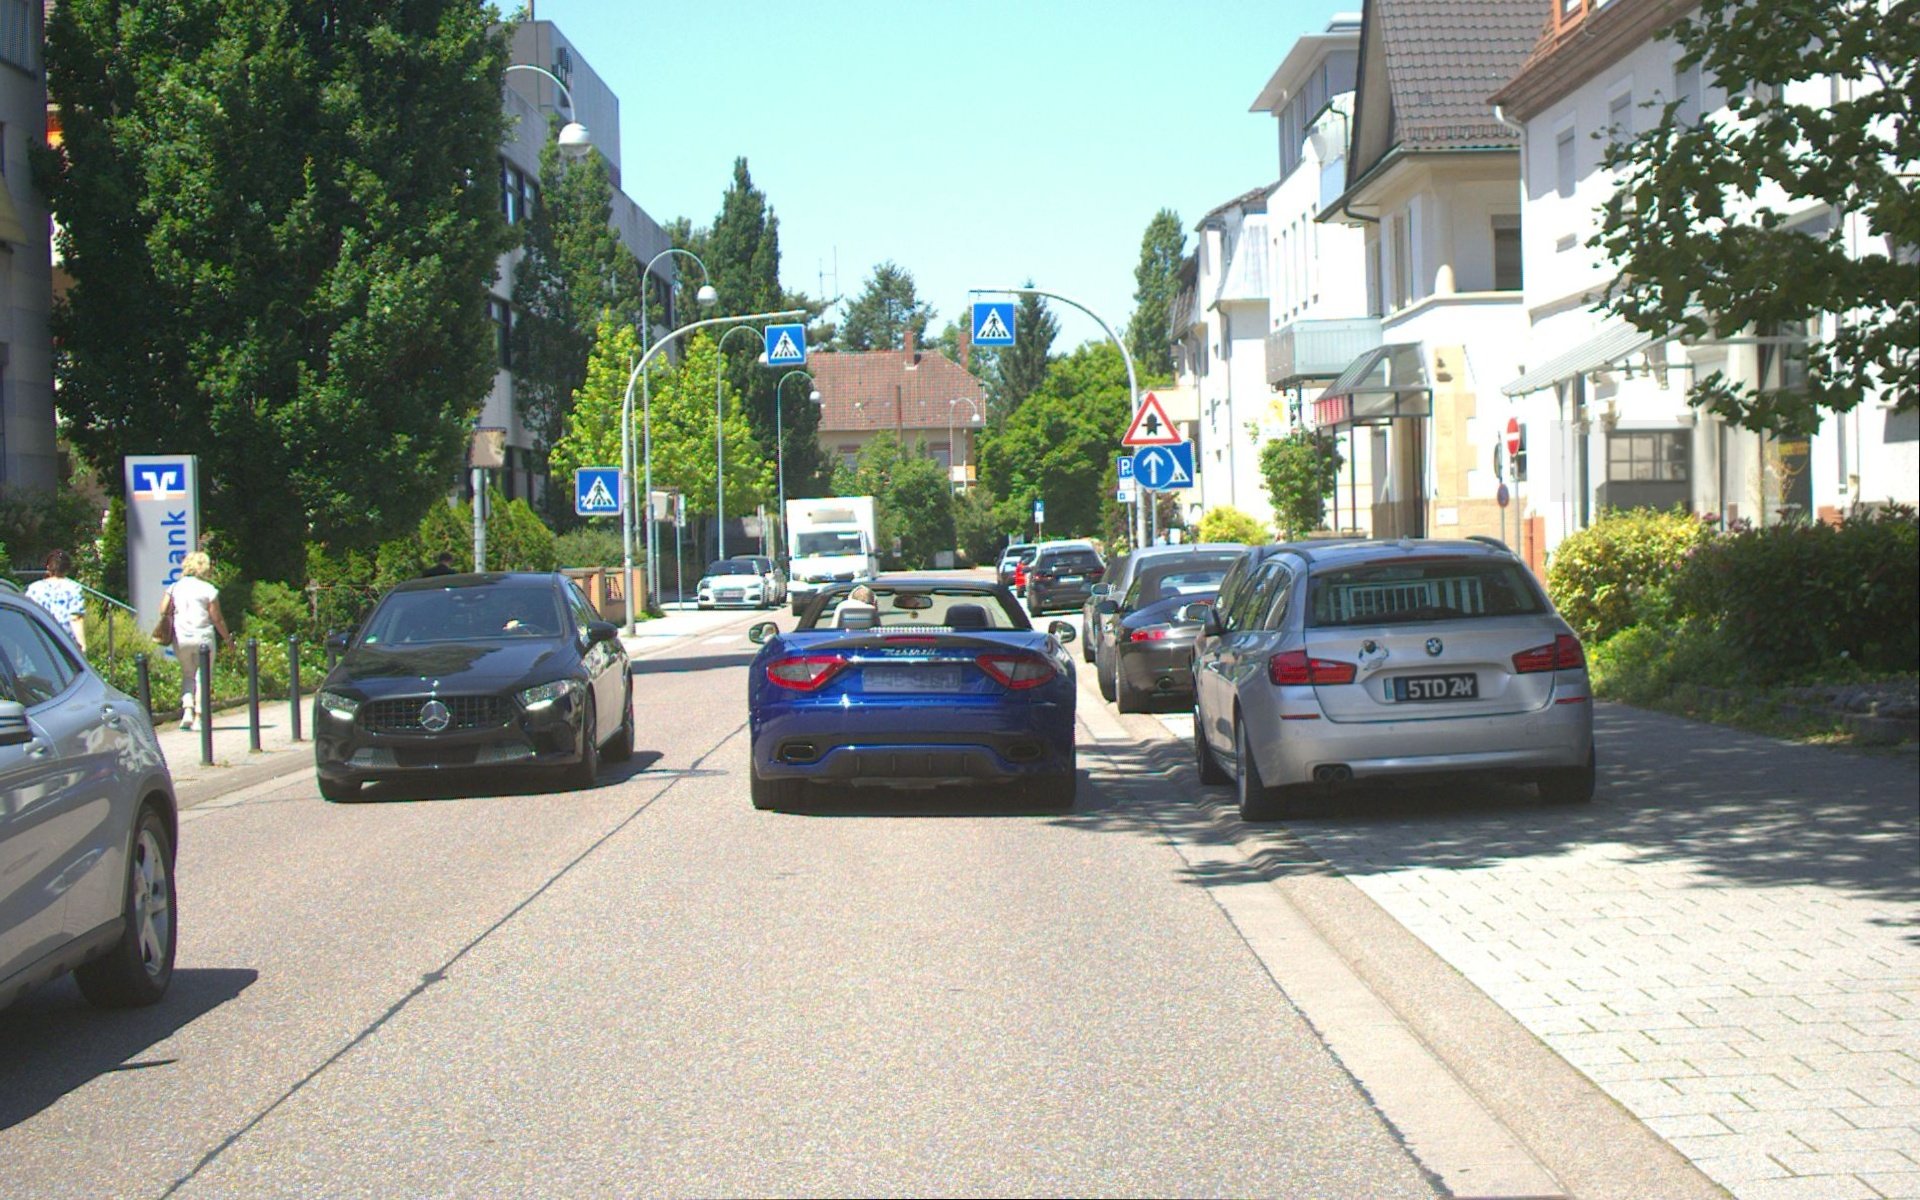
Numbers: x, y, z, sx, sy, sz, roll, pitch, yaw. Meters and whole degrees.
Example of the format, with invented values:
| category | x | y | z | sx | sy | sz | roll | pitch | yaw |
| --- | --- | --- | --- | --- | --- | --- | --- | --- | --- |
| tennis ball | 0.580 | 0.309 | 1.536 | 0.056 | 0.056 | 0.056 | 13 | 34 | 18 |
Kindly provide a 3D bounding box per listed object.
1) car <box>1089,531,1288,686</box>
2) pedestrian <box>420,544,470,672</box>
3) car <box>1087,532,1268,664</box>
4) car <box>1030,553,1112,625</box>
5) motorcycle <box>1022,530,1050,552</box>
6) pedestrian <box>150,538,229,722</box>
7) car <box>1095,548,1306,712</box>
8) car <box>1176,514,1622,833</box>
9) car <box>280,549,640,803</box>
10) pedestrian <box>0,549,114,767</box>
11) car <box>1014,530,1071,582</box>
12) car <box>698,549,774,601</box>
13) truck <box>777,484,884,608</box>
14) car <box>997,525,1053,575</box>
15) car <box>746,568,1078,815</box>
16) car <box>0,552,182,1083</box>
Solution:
| category | x | y | z | sx | sy | sz | roll | pitch | yaw |
| --- | --- | --- | --- | --- | --- | --- | --- | --- | --- |
| car | 2.410 | 0.055 | 37.354 | 1.744 | 1.463 | 4.852 | -4 | 1 | 0 |
| pedestrian | -6.855 | 0.096 | 45.772 | 0.536 | 1.679 | 0.708 | -1 | 1 | 0 |
| car | 2.583 | -0.057 | 41.752 | 1.827 | 1.422 | 4.700 | -3 | 1 | 0 |
| car | 2.456 | -0.242 | 76.686 | 1.705 | 1.551 | 4.748 | 0 | 0 | 0 |
| motorcycle | 4.072 | -3.170 | 184.431 | 0.700 | 1.103 | 1.787 | -3 | 1 | 29 |
| pedestrian | -7.135 | 0.270 | 31.853 | 0.536 | 1.679 | 0.708 | -1 | 1 | 0 |
| car | 2.142 | 0.224 | 31.592 | 1.558 | 1.336 | 4.174 | -3 | 1 | 0 |
| car | 2.342 | 0.332 | 19.539 | 1.829 | 1.506 | 4.760 | -3 | 1 | 0 |
| car | -3.336 | 0.446 | 23.727 | 1.829 | 1.506 | 4.262 | -3 | 1 | 0 |
| pedestrian | -7.068 | 0.438 | 26.680 | 0.748 | 1.639 | 0.848 | -2 | 2 | -1 |
| car | 2.494 | -1.357 | 104.565 | 1.603 | 1.436 | 3.853 | -4 | 1 | 1 |
| car | -6.286 | -0.730 | 97.063 | 1.822 | 1.406 | 4.577 | 0 | 1 | 0 |
| truck | -3.282 | -1.398 | 88.360 | 2.420 | 2.973 | 6.258 | -2 | 1 | 0 |
| car | 2.274 | -1.767 | 121.354 | 1.843 | 1.614 | 4.427 | -3 | 1 | 1 |
| car | -0.267 | 0.484 | 21.334 | 1.826 | 1.332 | 4.700 | 0 | 1 | 0 |
| car | -3.669 | 0.648 | 10.087 | 1.829 | 1.506 | 4.032 | -2 | 1 | 0 |
